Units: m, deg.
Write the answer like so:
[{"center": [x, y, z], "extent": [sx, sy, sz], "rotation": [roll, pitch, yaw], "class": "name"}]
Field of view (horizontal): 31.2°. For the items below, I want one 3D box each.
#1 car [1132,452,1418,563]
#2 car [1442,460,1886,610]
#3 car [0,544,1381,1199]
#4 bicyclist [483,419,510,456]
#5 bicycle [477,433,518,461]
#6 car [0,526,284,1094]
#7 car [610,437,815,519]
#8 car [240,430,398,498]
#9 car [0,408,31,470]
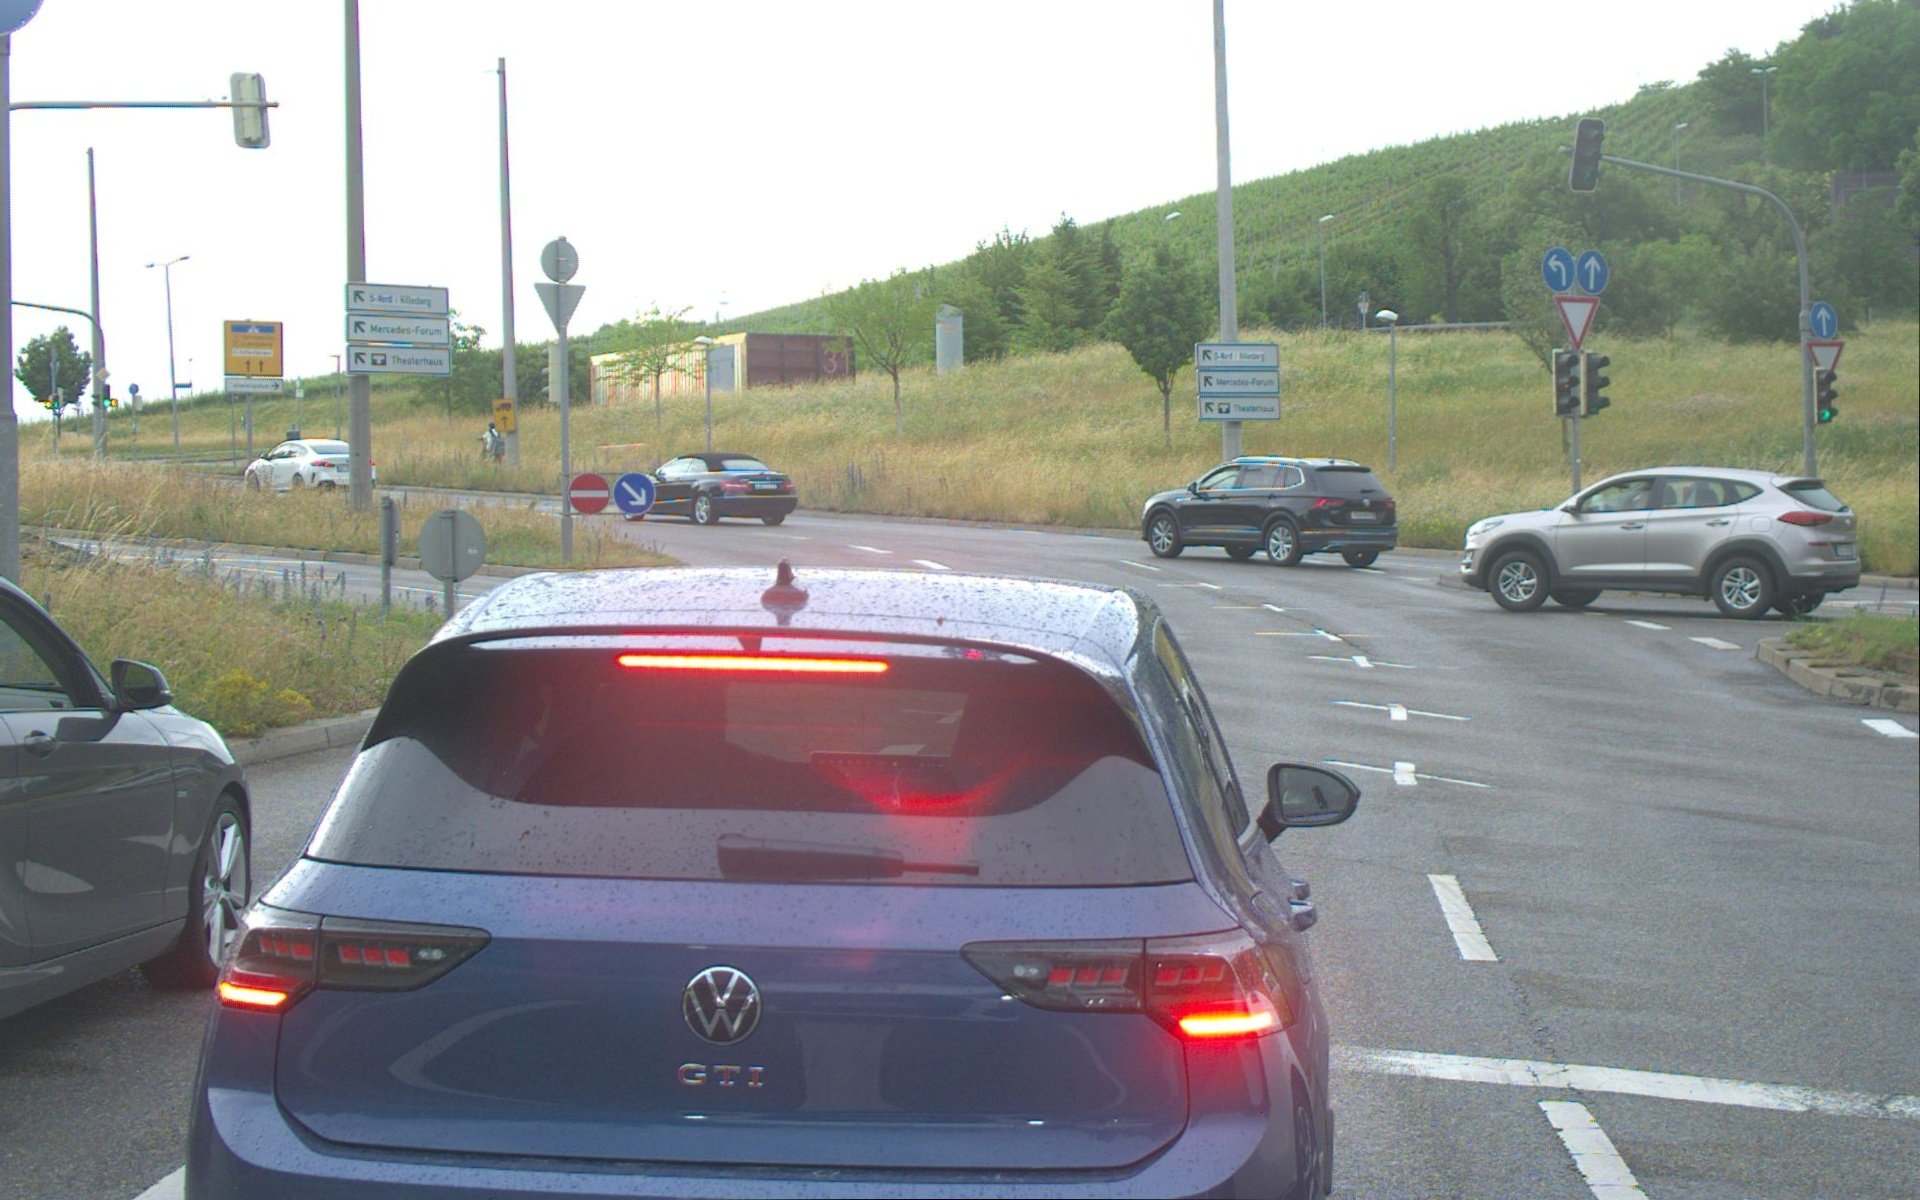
[{"center": [4.873, -1.405, 53.736], "extent": [1.994, 1.631, 4.420], "rotation": [1, 0, -37], "class": "car"}, {"center": [7.964, -0.726, 39.007], "extent": [4.518, 1.615, 1.996], "rotation": [1, 0, 32], "class": "car"}, {"center": [-0.214, 0.631, 6.400], "extent": [1.825, 1.455, 3.808], "rotation": [0, 1, 5], "class": "car"}, {"center": [-13.787, -4.835, 102.219], "extent": [0.523, 1.043, 0.580], "rotation": [3, 1, -33], "class": "bicyclist"}, {"center": [-13.761, -4.549, 102.173], "extent": [0.518, 0.772, 1.621], "rotation": [2, 1, -33], "class": "bicycle"}, {"center": [-3.261, 0.532, 9.458], "extent": [1.703, 1.455, 4.113], "rotation": [0, 0, 4], "class": "car"}, {"center": [-4.948, -2.389, 68.158], "extent": [1.994, 1.472, 4.502], "rotation": [1, 0, -36], "class": "car"}, {"center": [-15.487, -3.263, 82.920], "extent": [1.994, 1.472, 4.420], "rotation": [1, 0, -37], "class": "car"}, {"center": [-30.549, -4.951, 106.202], "extent": [2.129, 1.788, 4.740], "rotation": [1, 0, -34], "class": "car"}]
